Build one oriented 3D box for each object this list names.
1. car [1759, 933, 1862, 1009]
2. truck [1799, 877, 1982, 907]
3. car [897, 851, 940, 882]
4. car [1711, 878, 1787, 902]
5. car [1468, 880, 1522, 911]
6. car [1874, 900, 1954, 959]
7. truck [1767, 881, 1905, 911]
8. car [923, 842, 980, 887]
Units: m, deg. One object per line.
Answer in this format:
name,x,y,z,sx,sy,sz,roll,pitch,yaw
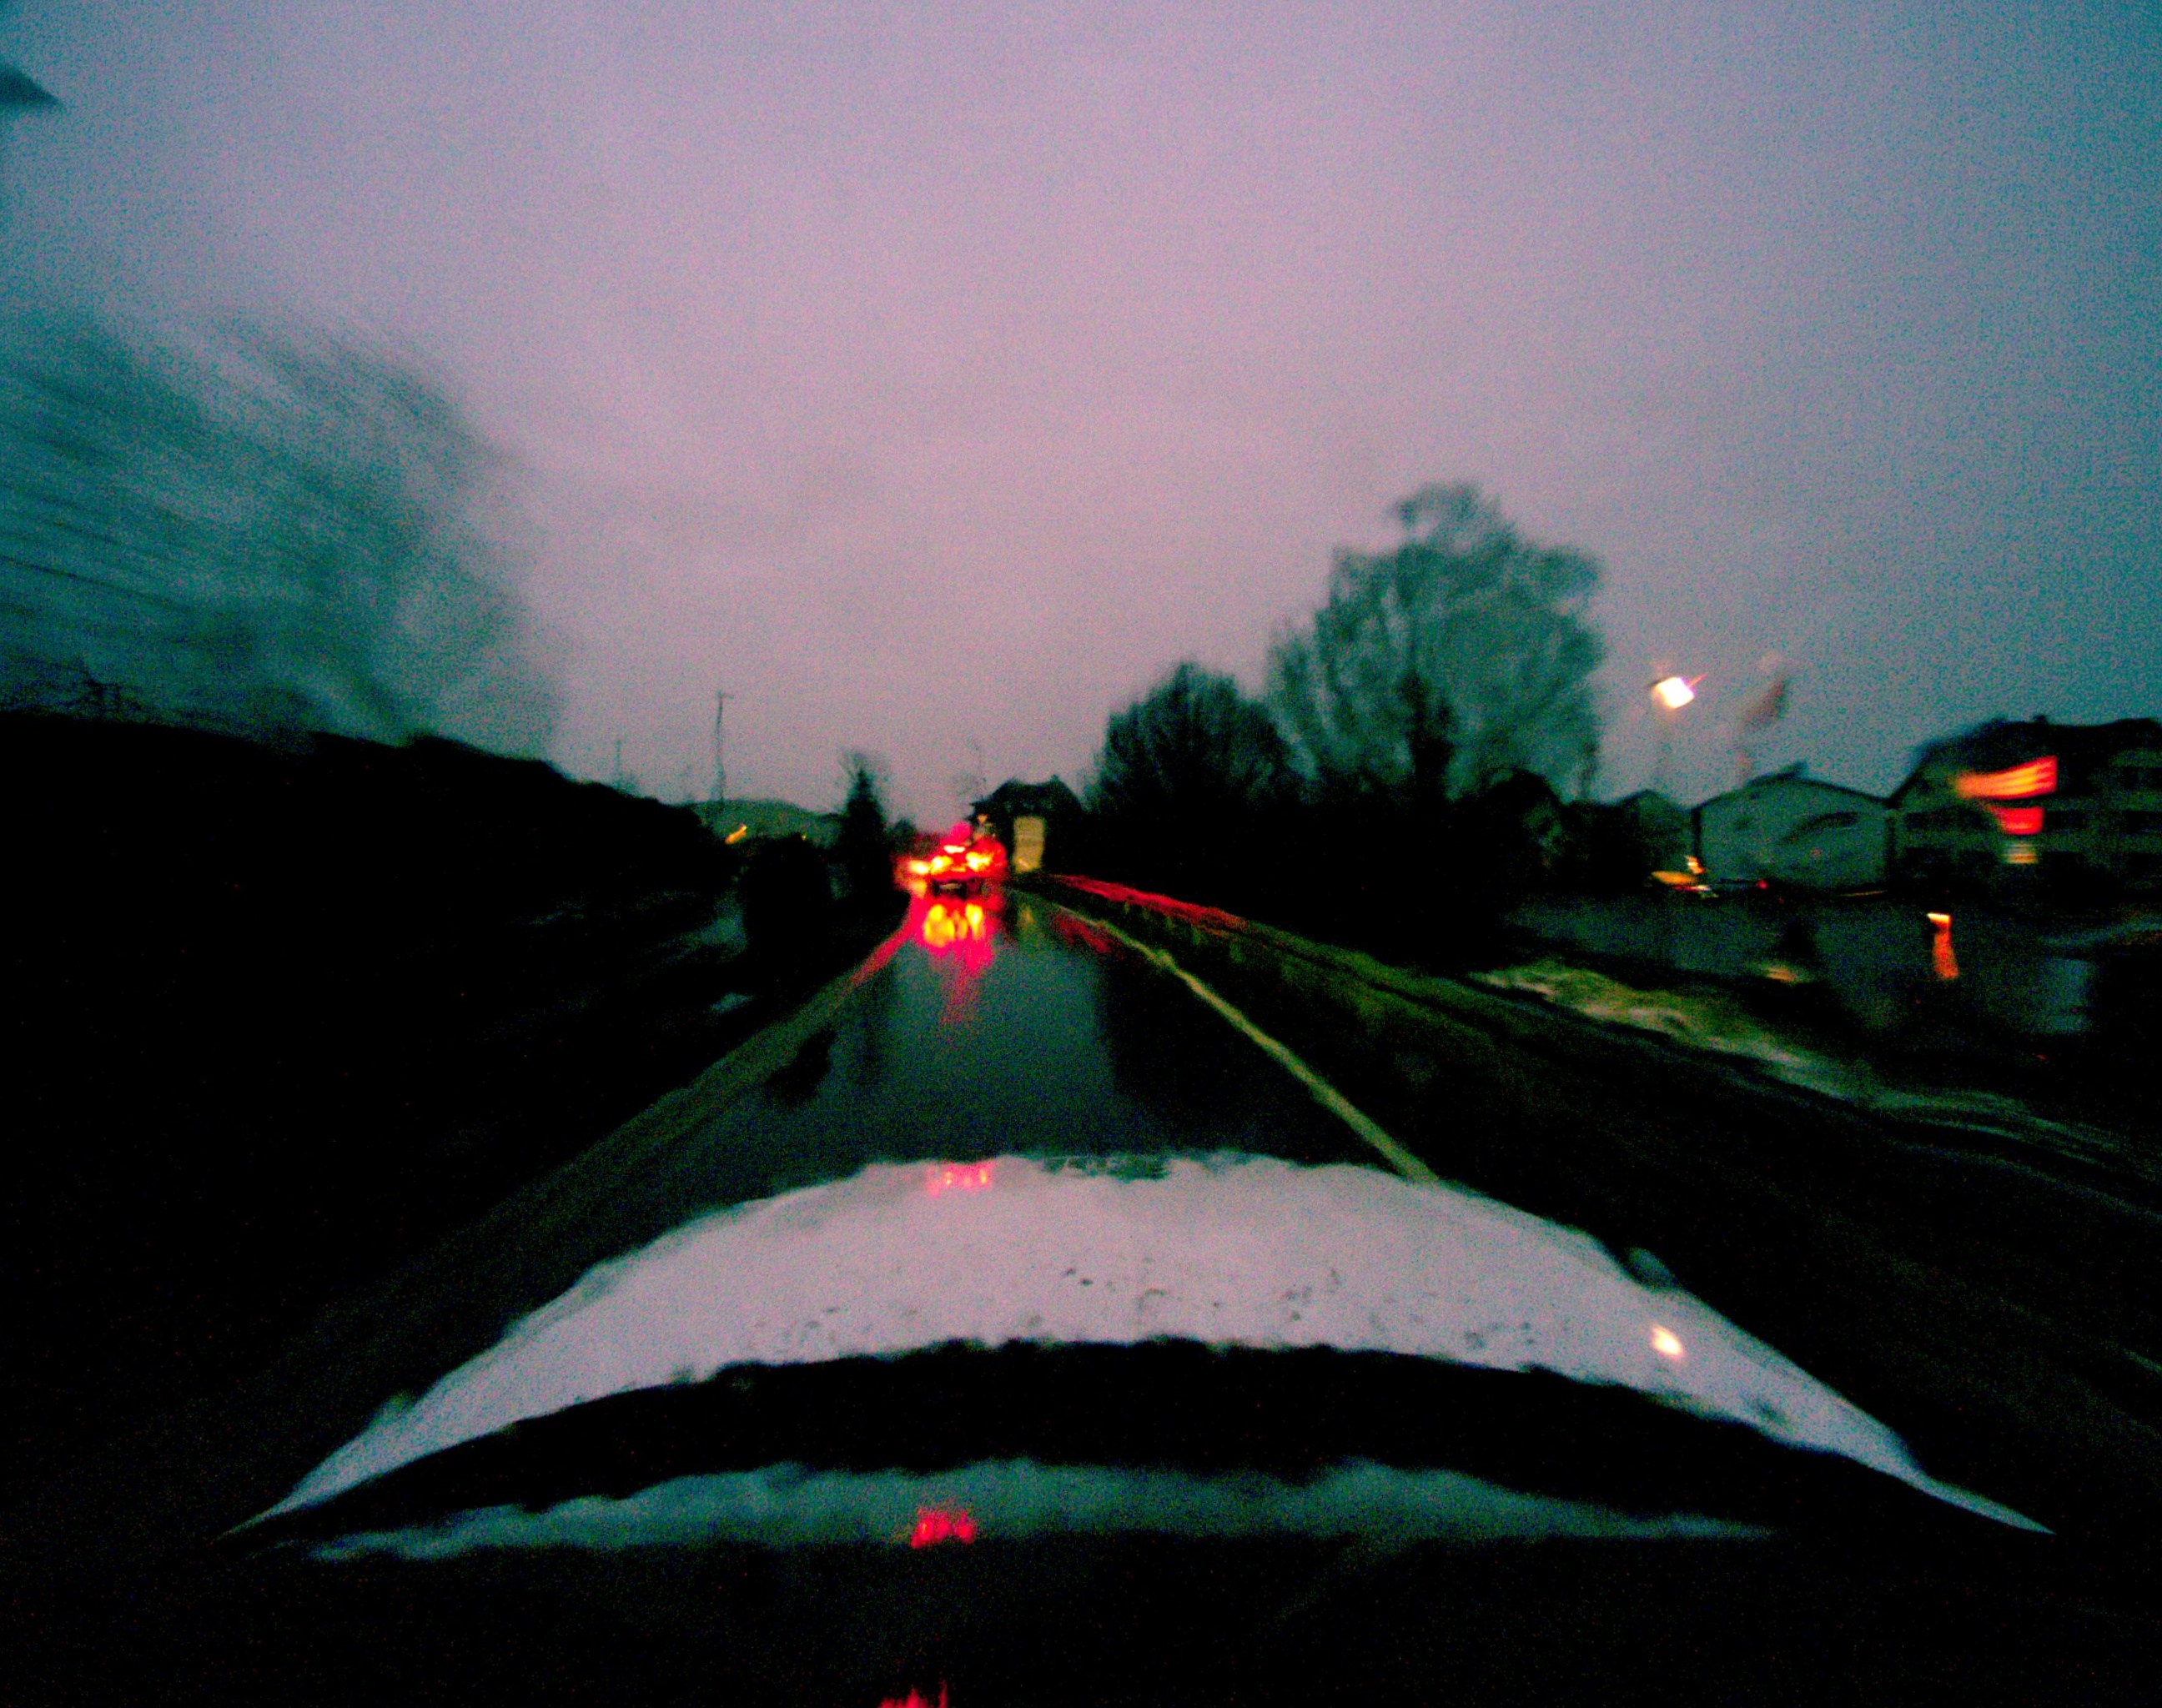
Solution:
car,17.119,2.677,19.075,3.226,1.313,1.374,0,0,-41
truck,54.487,2.509,55.204,8.552,1.815,2.430,-1,0,37
car,-9.693,0.712,48.460,2.168,1.689,4.547,0,1,-16
car,45.755,2.458,55.809,3.949,1.515,1.924,-1,-1,41
car,23.889,2.362,47.083,1.923,1.547,4.015,0,0,14
car,27.939,2.470,27.280,4.057,1.601,1.702,0,0,-42
truck,44.442,2.449,48.164,5.714,1.547,1.955,-1,0,35
car,-5.390,0.430,33.582,1.947,1.718,3.980,1,-1,-14
